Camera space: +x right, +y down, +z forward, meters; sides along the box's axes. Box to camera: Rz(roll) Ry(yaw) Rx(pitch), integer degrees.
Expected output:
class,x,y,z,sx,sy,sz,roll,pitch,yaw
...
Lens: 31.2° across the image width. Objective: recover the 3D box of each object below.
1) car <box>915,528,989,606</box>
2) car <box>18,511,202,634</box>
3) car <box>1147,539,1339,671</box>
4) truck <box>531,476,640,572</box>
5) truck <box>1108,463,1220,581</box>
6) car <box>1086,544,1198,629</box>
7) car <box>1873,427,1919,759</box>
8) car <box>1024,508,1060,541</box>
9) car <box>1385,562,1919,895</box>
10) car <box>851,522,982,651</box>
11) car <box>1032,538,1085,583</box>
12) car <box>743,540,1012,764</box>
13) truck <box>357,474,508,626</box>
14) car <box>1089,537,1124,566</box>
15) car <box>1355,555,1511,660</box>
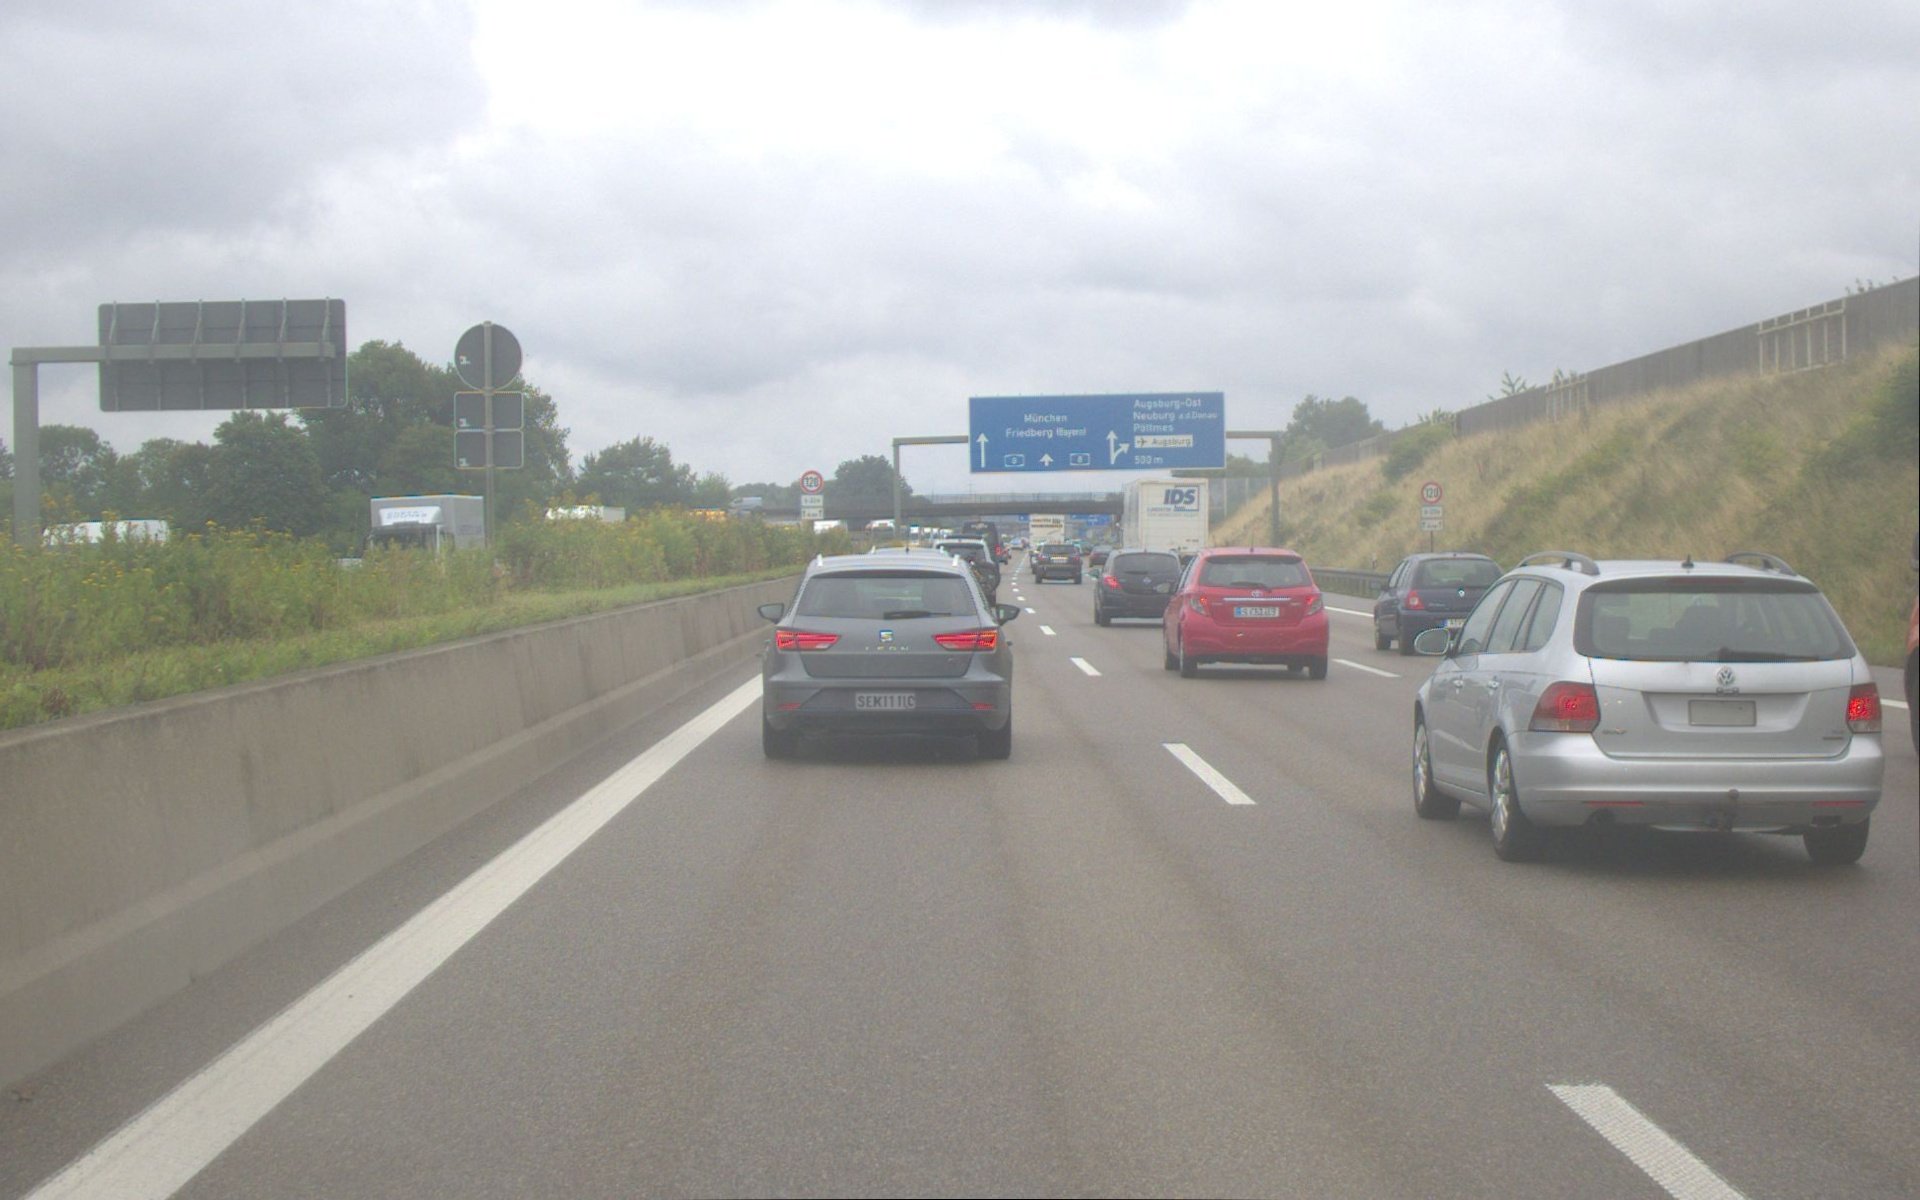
class,x,y,z,sx,sy,sz,roll,pitch,yaw
car,-0.211,-0.823,83.577,1.704,1.790,3.855,-2,1,0
car,-18.341,-0.601,74.533,2.245,2.521,6.906,1,1,0
car,3.277,0.013,40.573,1.891,1.442,4.685,0,1,0
truck,-16.032,-3.213,148.072,3.184,3.953,10.810,1,1,2
truck,7.901,-2.947,135.620,3.283,4.280,19.033,1,1,0
car,3.385,-0.284,64.658,1.921,1.516,4.622,0,1,1
car,7.733,-0.012,22.035,2.086,2.307,6.182,0,1,0
car,5.083,-4.727,214.510,1.993,2.007,4.000,-1,1,-2
car,3.348,0.545,17.482,1.742,1.420,4.517,-1,1,-1
car,-0.578,-0.204,48.902,1.754,1.744,4.000,1,1,1
car,3.740,-1.495,131.232,1.845,1.681,4.000,1,1,-1
car,-0.559,0.323,24.826,1.768,1.462,4.000,1,1,0
truck,-16.821,-1.583,110.344,3.225,4.633,9.674,1,1,1
car,9.433,-3.132,221.745,1.993,1.853,4.391,-1,1,-2
car,6.653,0.082,48.701,1.702,1.396,3.875,1,1,1
